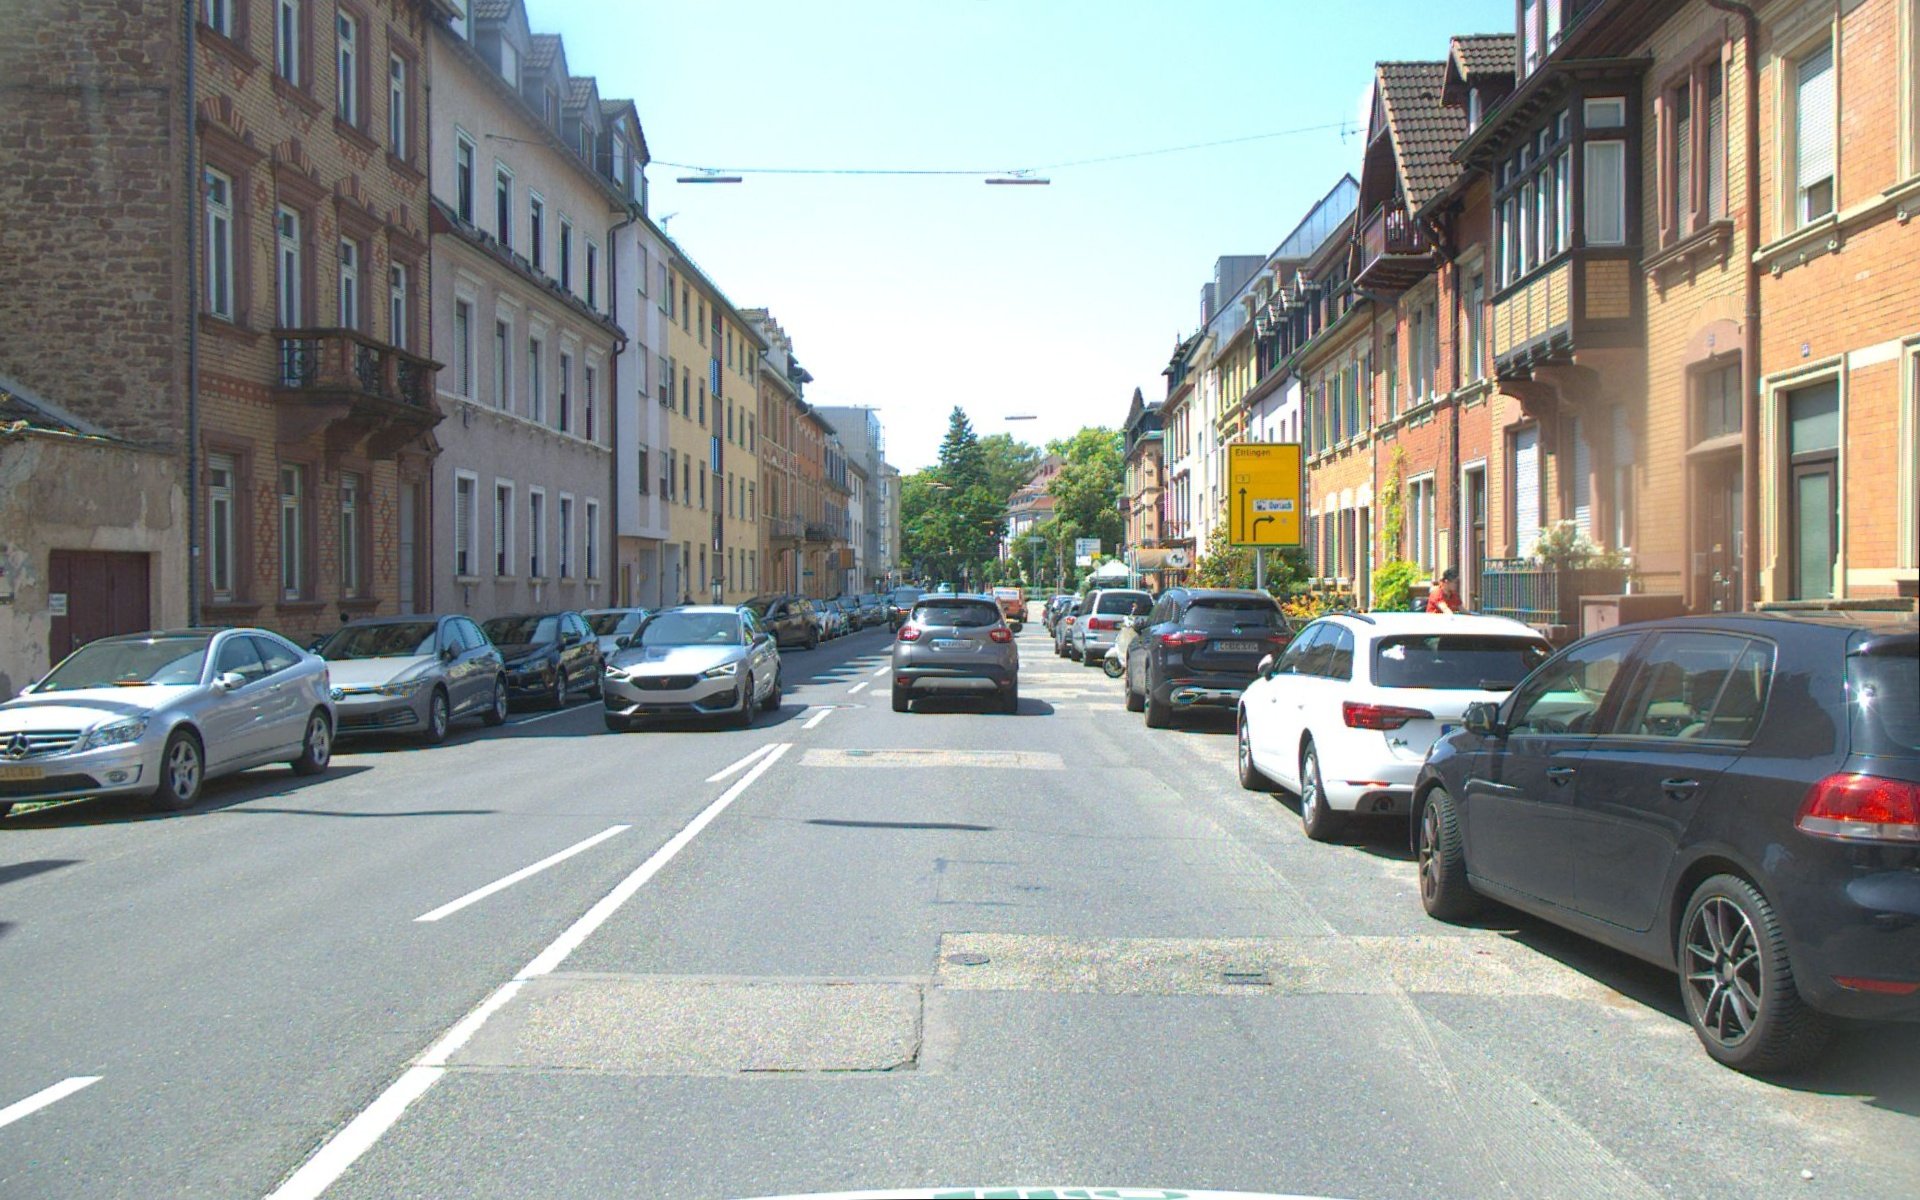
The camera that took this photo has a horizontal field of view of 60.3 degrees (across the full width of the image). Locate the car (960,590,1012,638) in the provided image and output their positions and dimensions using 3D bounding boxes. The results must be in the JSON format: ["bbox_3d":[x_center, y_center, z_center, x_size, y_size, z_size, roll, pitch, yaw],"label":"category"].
[{"bbox_3d":[0.954,0.511,62.747,1.775,1.649,4.441,-3,0,-1],"label":"car"}]

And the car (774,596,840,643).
[{"bbox_3d":[-5.593,0.684,60.994,1.866,1.536,4.303,-3,0,1],"label":"car"}]

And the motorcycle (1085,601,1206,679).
[{"bbox_3d":[3.469,0.736,31.002,1.958,1.410,1.107,-1,0,39],"label":"motorcycle"}]

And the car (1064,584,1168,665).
[{"bbox_3d":[3.585,0.525,38.730,1.823,1.778,4.616,0,0,-2],"label":"car"}]

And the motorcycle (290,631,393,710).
[{"bbox_3d":[-9.171,1.027,24.600,0.698,1.071,1.937,-1,0,4],"label":"motorcycle"}]

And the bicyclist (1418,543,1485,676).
[{"bbox_3d":[5.689,0.107,19.172,0.521,1.495,0.791,-2,0,1],"label":"bicyclist"}]

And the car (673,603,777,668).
[{"bbox_3d":[-6.028,0.869,42.937,1.802,1.447,4.559,-4,0,2],"label":"car"}]

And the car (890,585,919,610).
[{"bbox_3d":[-4.253,-0.231,128.001,1.865,1.853,4.304,-2,0,2],"label":"car"}]

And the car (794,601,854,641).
[{"bbox_3d":[-5.457,0.810,66.982,1.865,1.425,4.755,-3,0,1],"label":"car"}]

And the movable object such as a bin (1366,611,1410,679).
[{"bbox_3d":[7.119,0.744,27.536,0.545,1.094,0.727,-1,0,2],"label":"movable object such as a bin"}]

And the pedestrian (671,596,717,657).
[{"bbox_3d":[-7.994,0.781,49.748,1.127,1.780,0.970,-2,0,3],"label":"pedestrian"}]

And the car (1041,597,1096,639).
[{"bbox_3d":[4.061,0.651,62.319,1.822,1.490,4.618,1,0,1],"label":"car"}]

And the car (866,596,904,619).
[{"bbox_3d":[-4.575,0.438,101.838,1.865,1.314,4.304,-2,0,3],"label":"car"}]

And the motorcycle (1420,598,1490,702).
[{"bbox_3d":[6.326,0.618,21.184,0.431,1.259,1.358,-3,0,0],"label":"motorcycle"}]

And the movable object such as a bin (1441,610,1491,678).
[{"bbox_3d":[8.410,0.723,27.510,0.596,1.095,0.761,-1,0,2],"label":"movable object such as a bin"}]

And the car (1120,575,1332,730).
[{"bbox_3d":[3.228,0.588,21.017,1.952,1.691,4.625,-2,0,1],"label":"car"}]

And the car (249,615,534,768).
[{"bbox_3d":[-6.714,1.006,20.095,1.803,1.447,4.502,-6,0,0],"label":"car"}]

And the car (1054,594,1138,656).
[{"bbox_3d":[3.574,0.625,44.015,1.822,1.513,4.309,1,0,-1],"label":"car"}]

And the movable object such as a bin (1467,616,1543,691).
[{"bbox_3d":[7.053,0.688,21.417,0.772,0.923,0.539,-2,0,-2],"label":"movable object such as a bin"}]

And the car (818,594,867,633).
[{"bbox_3d":[-5.391,0.598,76.378,1.866,1.648,4.302,-3,0,0],"label":"car"}]

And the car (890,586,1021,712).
[{"bbox_3d":[-0.023,0.640,23.705,1.708,1.645,4.000,0,0,1],"label":"car"}]

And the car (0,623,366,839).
[{"bbox_3d":[-6.845,0.998,14.216,1.802,1.447,4.502,-3,0,0],"label":"car"}]

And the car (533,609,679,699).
[{"bbox_3d":[-6.582,0.955,31.218,1.803,1.447,4.501,-3,0,-1],"label":"car"}]

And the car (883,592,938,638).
[{"bbox_3d":[-2.100,0.605,71.610,1.952,1.823,5.150,-2,0,2],"label":"car"}]

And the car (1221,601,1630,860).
[{"bbox_3d":[3.077,0.763,11.939,1.681,1.439,4.590,-2,0,1],"label":"car"}]

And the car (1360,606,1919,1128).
[{"bbox_3d":[3.221,0.758,6.962,1.616,1.439,4.496,-1,0,-5],"label":"car"}]

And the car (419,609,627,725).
[{"bbox_3d":[-6.616,0.956,25.568,1.802,1.447,4.503,-5,0,2],"label":"car"}]

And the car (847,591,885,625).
[{"bbox_3d":[-4.981,0.421,87.842,1.867,1.648,4.300,-3,0,-3],"label":"car"}]

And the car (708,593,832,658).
[{"bbox_3d":[-5.609,0.718,49.314,1.865,1.666,4.560,-3,0,18],"label":"car"}]

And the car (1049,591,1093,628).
[{"bbox_3d":[4.920,0.398,73.545,1.821,1.580,4.001,1,0,2],"label":"car"}]

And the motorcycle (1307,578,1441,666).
[{"bbox_3d":[7.391,0.394,29.600,2.086,1.433,0.937,-3,0,0],"label":"motorcycle"}]

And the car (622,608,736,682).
[{"bbox_3d":[-6.234,0.952,37.155,1.803,1.447,4.644,-3,0,-1],"label":"car"}]

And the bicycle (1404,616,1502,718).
[{"bbox_3d":[5.721,0.755,19.278,0.581,1.085,1.883,-2,0,1],"label":"bicycle"}]

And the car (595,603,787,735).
[{"bbox_3d":[-3.340,0.806,21.316,1.754,1.445,4.314,-2,0,-1],"label":"car"}]

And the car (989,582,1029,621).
[{"bbox_3d":[2.744,0.061,91.669,1.951,2.049,4.469,-2,0,5],"label":"car"}]

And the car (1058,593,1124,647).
[{"bbox_3d":[3.907,0.565,49.987,1.660,1.513,4.618,1,0,1],"label":"car"}]
